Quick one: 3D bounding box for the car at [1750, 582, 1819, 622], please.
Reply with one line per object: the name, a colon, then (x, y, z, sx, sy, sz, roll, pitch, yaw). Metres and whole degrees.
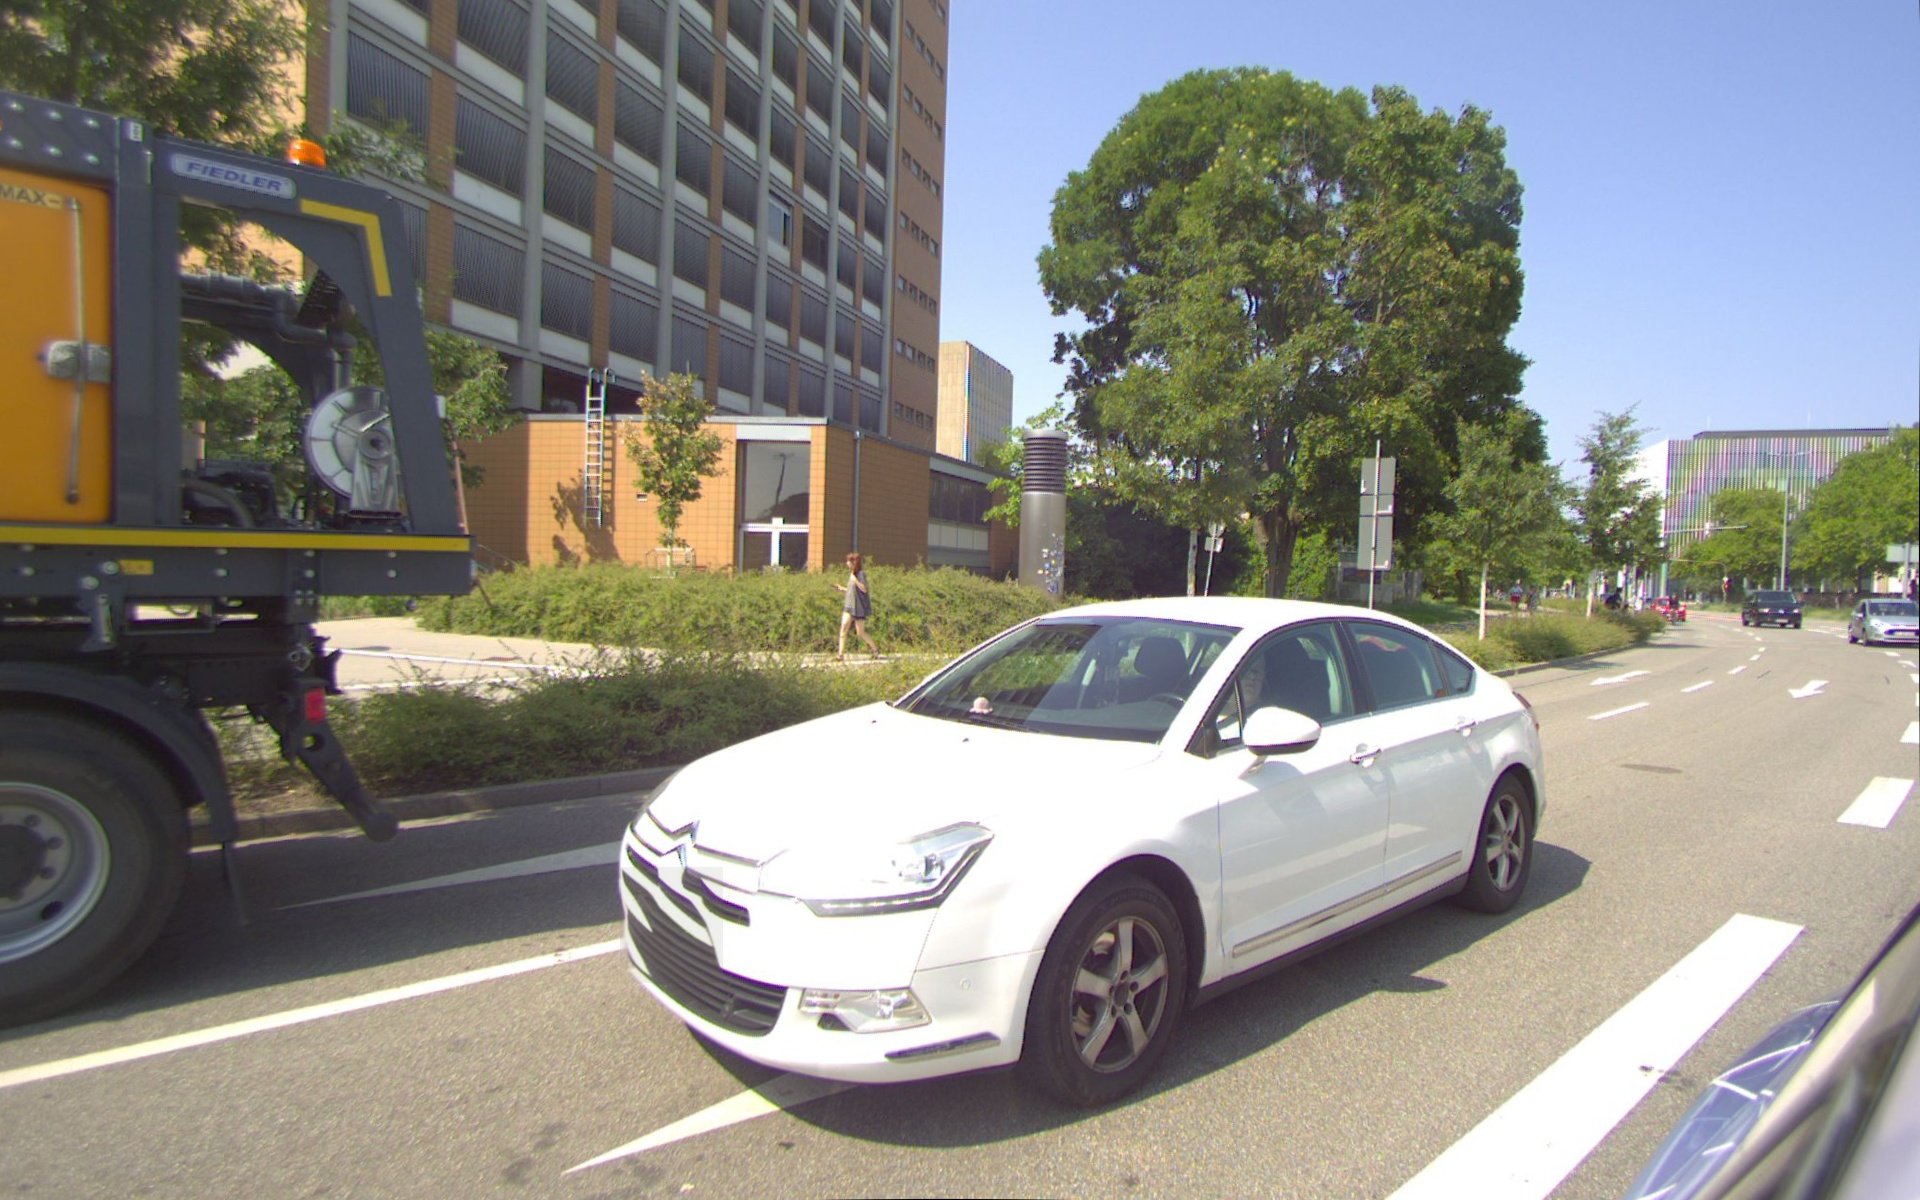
car: (42.770, 0.088, 52.600, 1.874, 1.943, 4.489, 1, 1, 28)

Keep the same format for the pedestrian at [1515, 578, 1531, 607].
pedestrian: (25.775, -0.350, 46.312, 0.630, 1.315, 0.481, 0, 0, 32)

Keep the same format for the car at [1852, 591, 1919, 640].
car: (31.221, 0.480, 33.681, 1.648, 1.550, 4.480, 0, 0, 33)

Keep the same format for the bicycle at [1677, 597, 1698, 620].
bicycle: (38.864, 0.438, 54.036, 0.593, 1.183, 2.200, 2, 2, 44)

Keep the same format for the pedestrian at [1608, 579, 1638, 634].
pedestrian: (23.775, 0.215, 36.269, 0.818, 1.926, 0.622, 2, 1, 37)

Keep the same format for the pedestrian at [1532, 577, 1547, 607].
pedestrian: (26.327, -0.362, 45.998, 0.572, 1.315, 0.433, 0, 0, 30)

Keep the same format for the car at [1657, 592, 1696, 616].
car: (44.021, 0.222, 62.217, 1.637, 1.449, 3.775, 1, 1, 30)

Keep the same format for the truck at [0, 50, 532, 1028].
truck: (-5.238, -0.232, 3.183, 6.736, 3.173, 2.499, 0, 2, -39)

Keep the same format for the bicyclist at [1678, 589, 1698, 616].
bicyclist: (38.809, 0.127, 53.976, 0.678, 1.417, 1.032, 2, 1, 44)

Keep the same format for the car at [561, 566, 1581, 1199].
car: (0.886, 0.635, 4.372, 4.529, 1.446, 1.772, 0, 2, -41)

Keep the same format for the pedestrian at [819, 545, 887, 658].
pedestrian: (-1.685, 0.010, 15.913, 0.792, 1.720, 0.671, 1, 1, -41)
